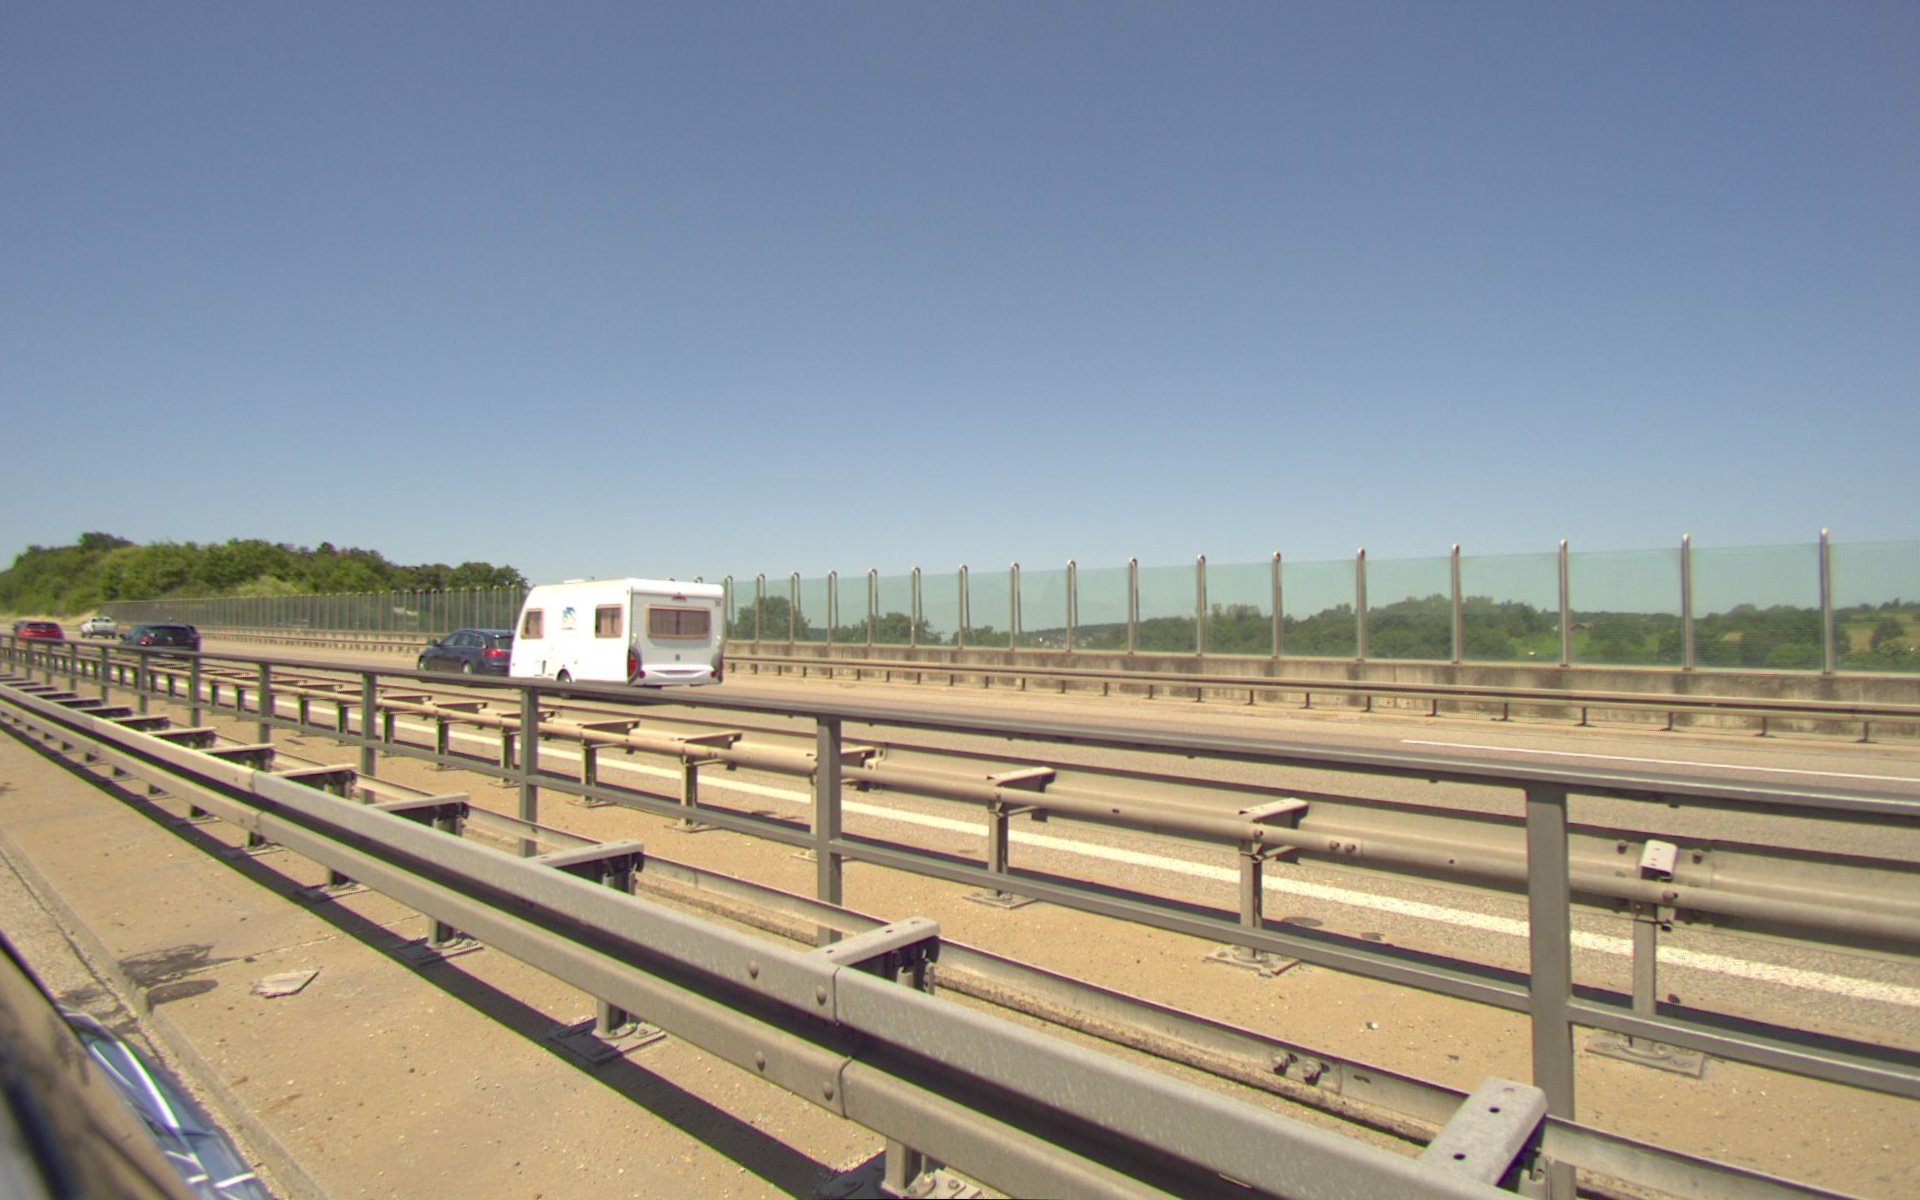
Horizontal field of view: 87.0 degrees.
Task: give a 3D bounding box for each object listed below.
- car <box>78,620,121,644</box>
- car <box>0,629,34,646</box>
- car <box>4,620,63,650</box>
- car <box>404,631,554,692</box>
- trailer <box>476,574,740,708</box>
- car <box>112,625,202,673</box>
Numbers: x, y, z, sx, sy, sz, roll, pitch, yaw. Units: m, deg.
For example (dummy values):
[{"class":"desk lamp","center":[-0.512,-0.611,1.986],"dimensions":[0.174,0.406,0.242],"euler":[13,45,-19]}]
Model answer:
[{"class":"car","center":[-73.779,2.744,86.759],"dimensions":[5.252,1.899,1.973],"euler":[-1,-4,41]},{"class":"car","center":[-78.517,3.135,84.236],"dimensions":[4.177,1.360,1.581],"euler":[-1,-4,41]},{"class":"car","center":[-47.943,1.832,52.366],"dimensions":[3.987,1.489,1.772],"euler":[-2,-4,41]},{"class":"car","center":[-12.480,1.533,26.126],"dimensions":[4.680,1.418,1.757],"euler":[-1,-4,41]},{"class":"trailer","center":[-7.985,0.890,22.484],"dimensions":[6.770,2.569,2.467],"euler":[-1,-3,41]},{"class":"car","center":[-26.623,1.612,33.497],"dimensions":[3.999,1.459,1.650],"euler":[-2,-5,42]}]
